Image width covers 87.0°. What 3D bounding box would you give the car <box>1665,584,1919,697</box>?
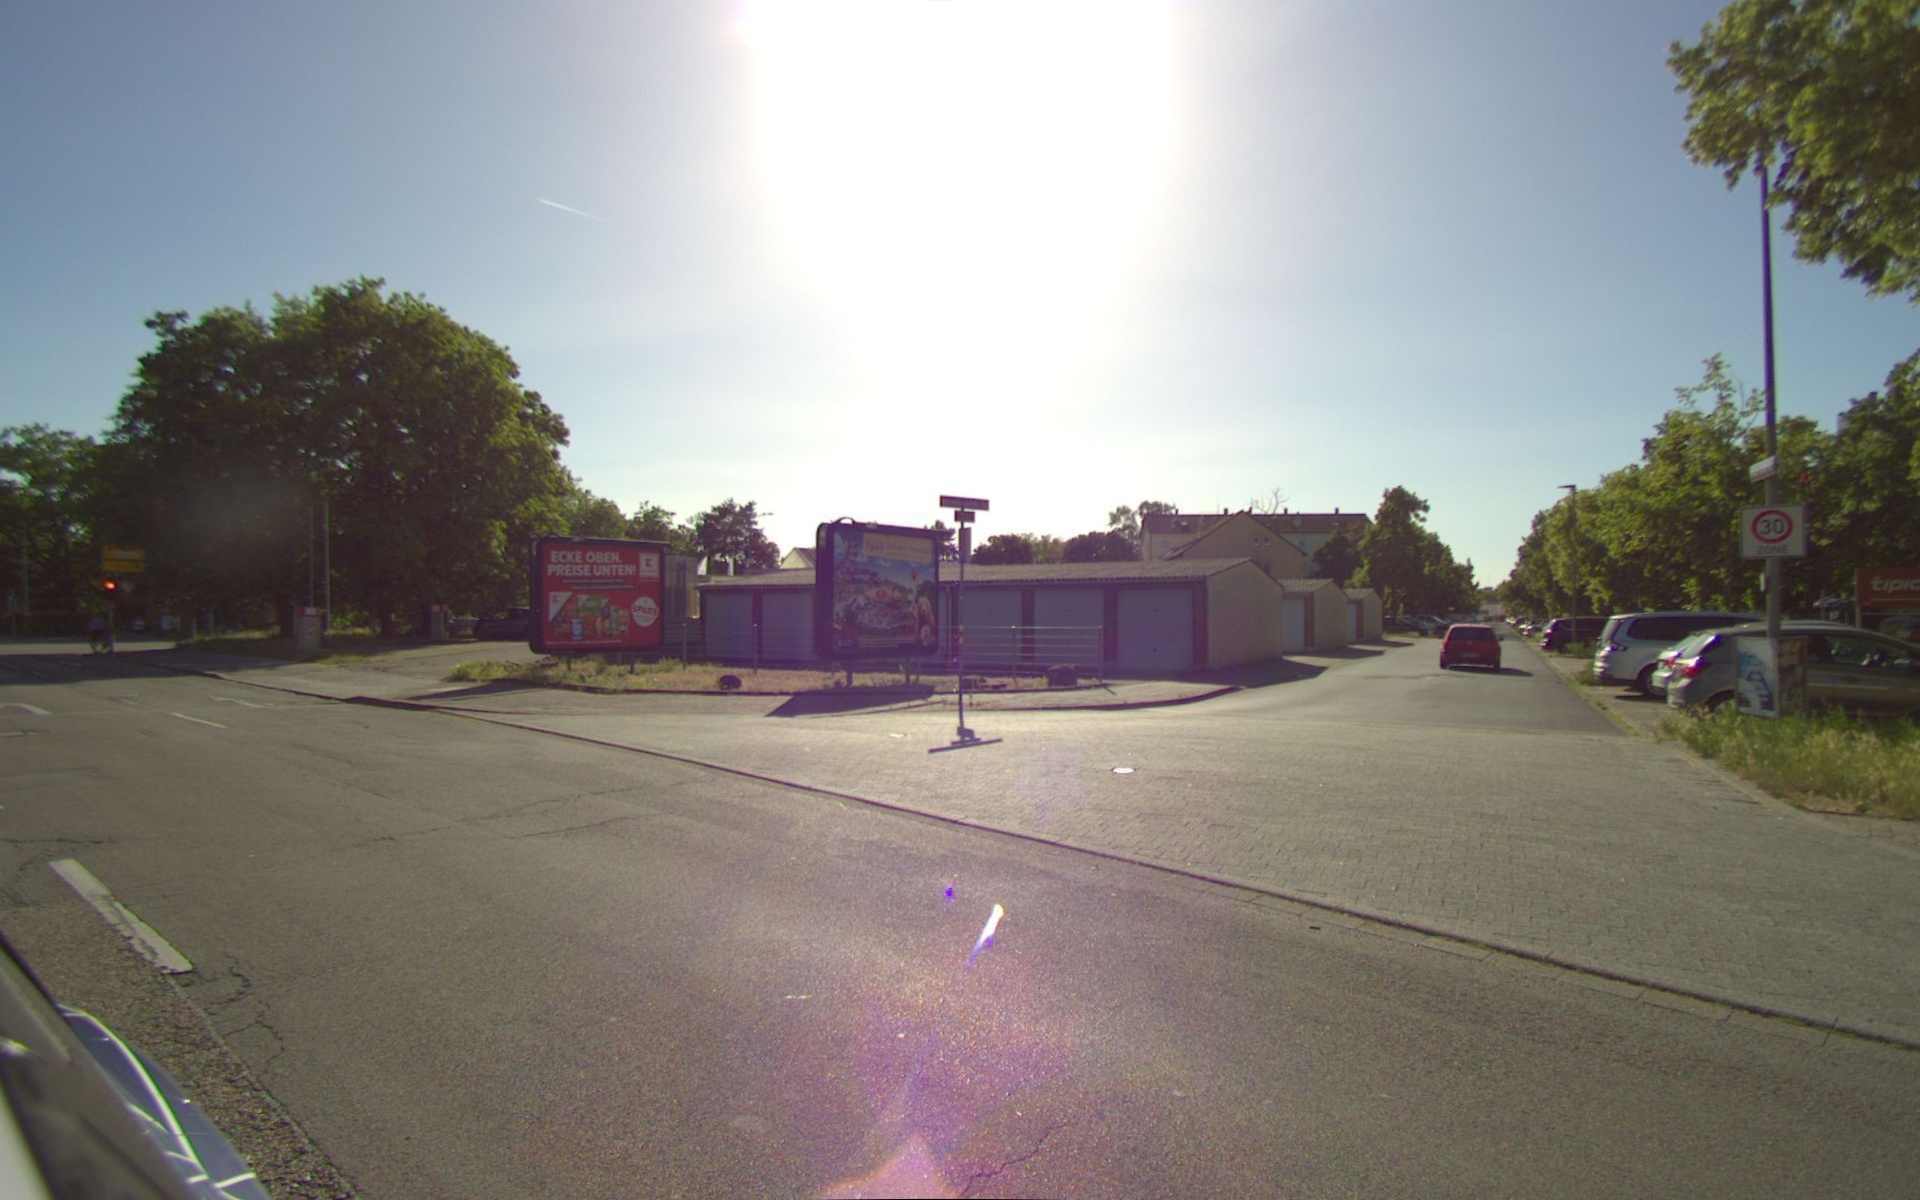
[{"bbox_3d":[13.528,0.616,15.802,3.860,1.634,1.688,-1,-2,26],"label":"car"}]

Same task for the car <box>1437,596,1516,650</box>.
[{"bbox_3d":[16.586,0.711,32.679,2.006,1.580,4.357,1,0,24],"label":"car"}]

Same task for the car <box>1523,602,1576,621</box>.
[{"bbox_3d":[52.792,1.048,90.683,3.982,1.632,1.639,-1,-4,29],"label":"car"}]

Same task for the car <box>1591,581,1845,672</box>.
[{"bbox_3d":[15.156,0.562,20.524,3.865,1.692,1.686,-1,-2,30],"label":"car"}]

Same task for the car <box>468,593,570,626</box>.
[{"bbox_3d":[-20.440,0.435,46.989,3.950,1.386,1.757,2,-1,6],"label":"car"}]

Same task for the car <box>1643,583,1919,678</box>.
[{"bbox_3d":[14.472,0.564,17.723,3.860,1.475,1.688,-3,-3,26],"label":"car"}]

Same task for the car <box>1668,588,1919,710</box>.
[{"bbox_3d":[11.740,0.623,13.214,3.864,1.475,1.718,-1,-2,29],"label":"car"}]

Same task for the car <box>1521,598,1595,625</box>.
[{"bbox_3d":[38.690,0.750,65.593,3.982,1.632,1.639,-1,-4,29],"label":"car"}]

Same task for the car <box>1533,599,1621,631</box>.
[{"bbox_3d":[33.968,0.826,55.827,3.978,1.632,1.640,0,-2,26],"label":"car"}]

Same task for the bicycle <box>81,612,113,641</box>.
[{"bbox_3d":[-35.345,1.082,41.453,2.021,1.150,0.522,-1,-2,36],"label":"bicycle"}]

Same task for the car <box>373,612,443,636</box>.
[{"bbox_3d":[-37.203,1.597,68.292,1.685,1.450,3.874,2,1,28],"label":"car"}]

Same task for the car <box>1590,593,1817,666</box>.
[{"bbox_3d":[16.373,0.669,22.528,3.865,1.517,1.491,-1,-2,30],"label":"car"}]

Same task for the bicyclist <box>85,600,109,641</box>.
[{"bbox_3d":[-35.438,0.839,41.546,0.828,1.654,0.536,-1,-2,35],"label":"bicyclist"}]
